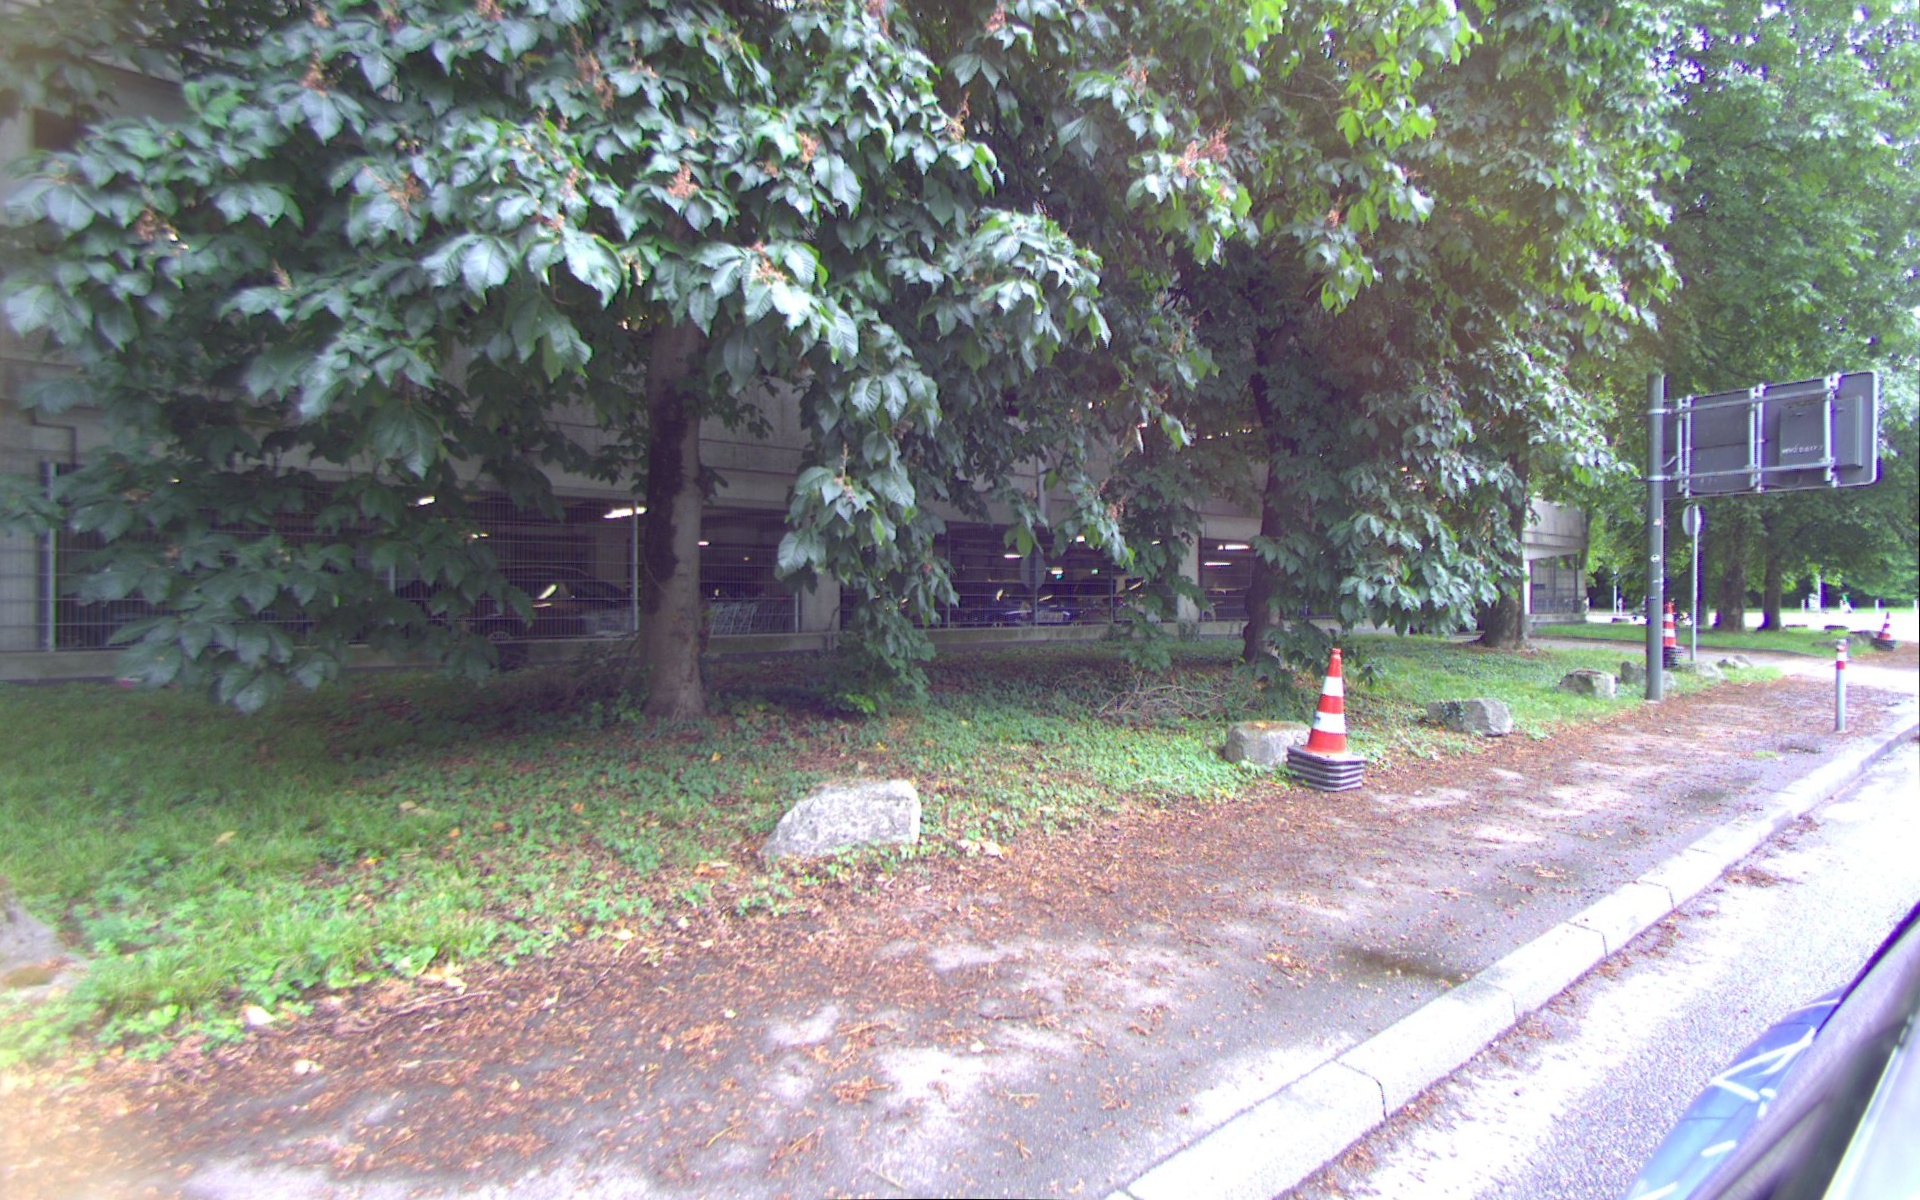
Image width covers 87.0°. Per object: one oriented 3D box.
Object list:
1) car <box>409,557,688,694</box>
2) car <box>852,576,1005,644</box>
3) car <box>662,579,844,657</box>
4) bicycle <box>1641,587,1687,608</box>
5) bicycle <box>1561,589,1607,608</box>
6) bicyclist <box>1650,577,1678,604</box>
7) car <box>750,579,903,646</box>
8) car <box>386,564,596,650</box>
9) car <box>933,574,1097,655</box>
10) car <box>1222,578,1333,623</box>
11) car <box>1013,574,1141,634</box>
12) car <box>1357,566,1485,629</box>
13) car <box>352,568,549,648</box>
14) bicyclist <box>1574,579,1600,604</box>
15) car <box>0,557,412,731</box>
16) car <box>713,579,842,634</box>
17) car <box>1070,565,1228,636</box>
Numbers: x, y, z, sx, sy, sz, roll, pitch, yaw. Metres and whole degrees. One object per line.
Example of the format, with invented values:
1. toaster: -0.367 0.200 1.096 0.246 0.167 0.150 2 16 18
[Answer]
1. car: -6.875 0.340 17.085 3.929 2.039 1.997 -2 0 -40
2. car: -0.764 0.221 25.802 3.639 1.565 1.718 -2 1 -42
3. car: -4.591 0.358 22.702 3.639 1.565 1.718 -2 1 -42
4. bicycle: 40.646 -0.126 58.415 0.765 1.157 2.047 -3 1 -42
5. bicycle: 37.925 -0.099 61.557 0.736 1.137 2.252 -2 0 -44
6. bicyclist: 40.632 -0.537 58.418 0.912 1.514 1.099 -3 1 -42
7. car: -3.452 0.287 26.545 3.639 1.565 1.718 -2 1 -42
8. car: -9.758 0.103 21.205 3.639 1.627 1.718 -2 1 -42
9. car: 1.351 0.289 23.808 3.791 1.730 1.588 -2 0 -41
10. car: 11.361 0.003 36.146 3.927 1.471 1.876 -2 1 -38
11. car: 3.447 0.078 29.416 3.629 1.606 1.718 -2 1 -42
12. car: 14.542 -0.088 31.808 4.653 1.858 1.922 -1 0 -41
13. car: -11.446 0.132 22.850 3.639 1.627 1.718 -2 1 -42
14. bicyclist: 38.040 -0.518 61.423 0.731 1.448 1.156 -2 0 -44
15. car: -10.335 0.468 13.899 4.594 2.039 1.996 -2 0 -41
16. car: -5.718 0.171 31.862 3.638 1.565 1.719 -2 1 -41
17. car: 5.074 -0.033 26.822 4.587 1.730 1.588 -2 0 -41
